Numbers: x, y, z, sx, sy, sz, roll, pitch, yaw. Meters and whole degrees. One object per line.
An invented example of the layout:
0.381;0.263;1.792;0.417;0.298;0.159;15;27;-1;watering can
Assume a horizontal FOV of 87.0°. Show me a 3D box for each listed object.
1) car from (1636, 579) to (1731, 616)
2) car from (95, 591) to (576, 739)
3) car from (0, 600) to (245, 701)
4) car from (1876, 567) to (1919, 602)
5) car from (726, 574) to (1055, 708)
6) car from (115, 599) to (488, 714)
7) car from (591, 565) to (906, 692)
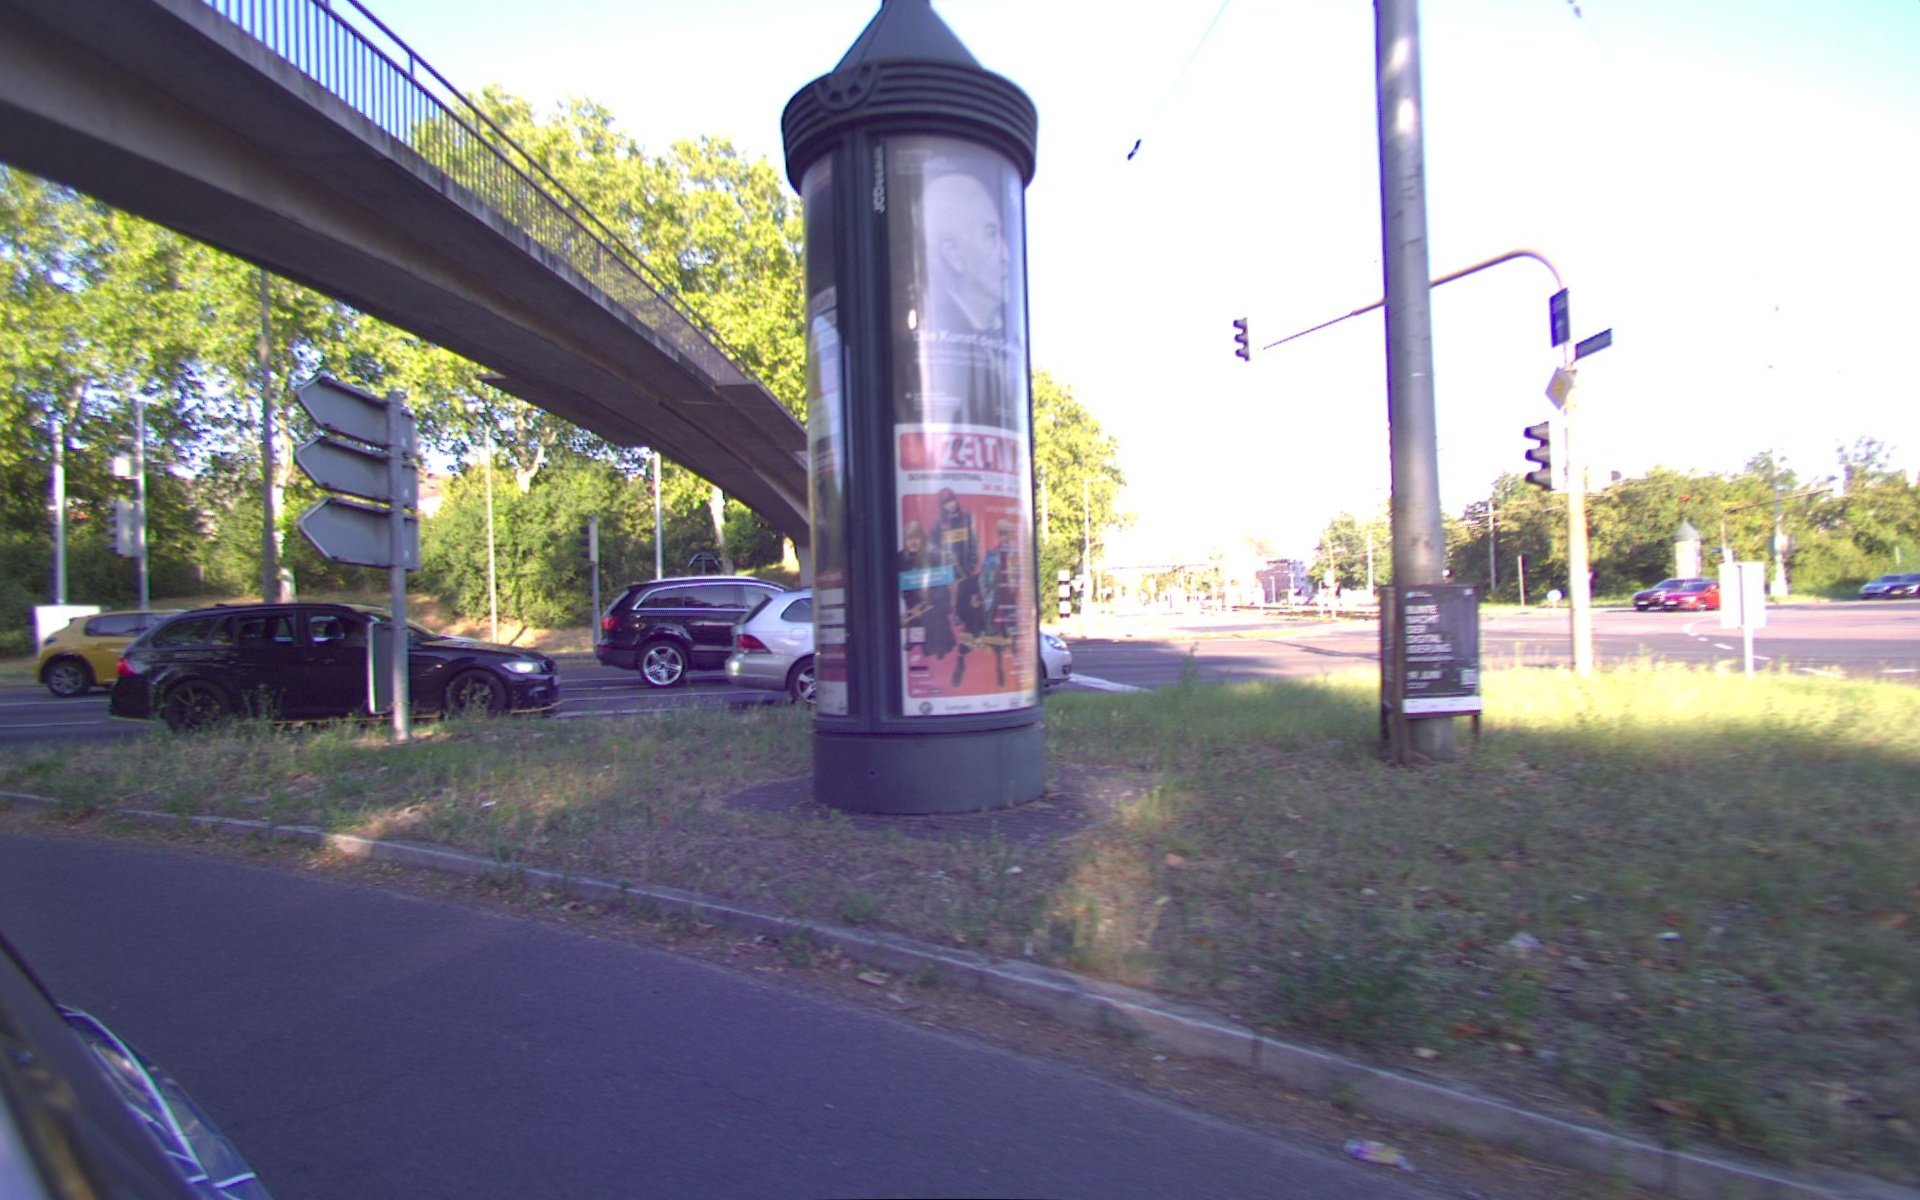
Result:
37.584;-0.111;52.628;3.933;1.785;1.890;-2;0;-15;car
-6.934;0.716;11.760;4.401;1.393;1.802;-2;-3;-13;car
-15.103;0.903;17.690;3.933;1.577;1.672;-2;-3;-13;car
51.283;-0.875;53.812;3.933;1.785;1.890;-2;0;-15;car
-0.976;0.520;13.059;3.933;1.453;1.802;-2;-3;-13;car
-9.623;0.777;15.176;4.337;1.443;1.752;-2;0;-13;car
-3.396;0.421;16.619;4.748;1.806;1.802;-2;0;-11;car
